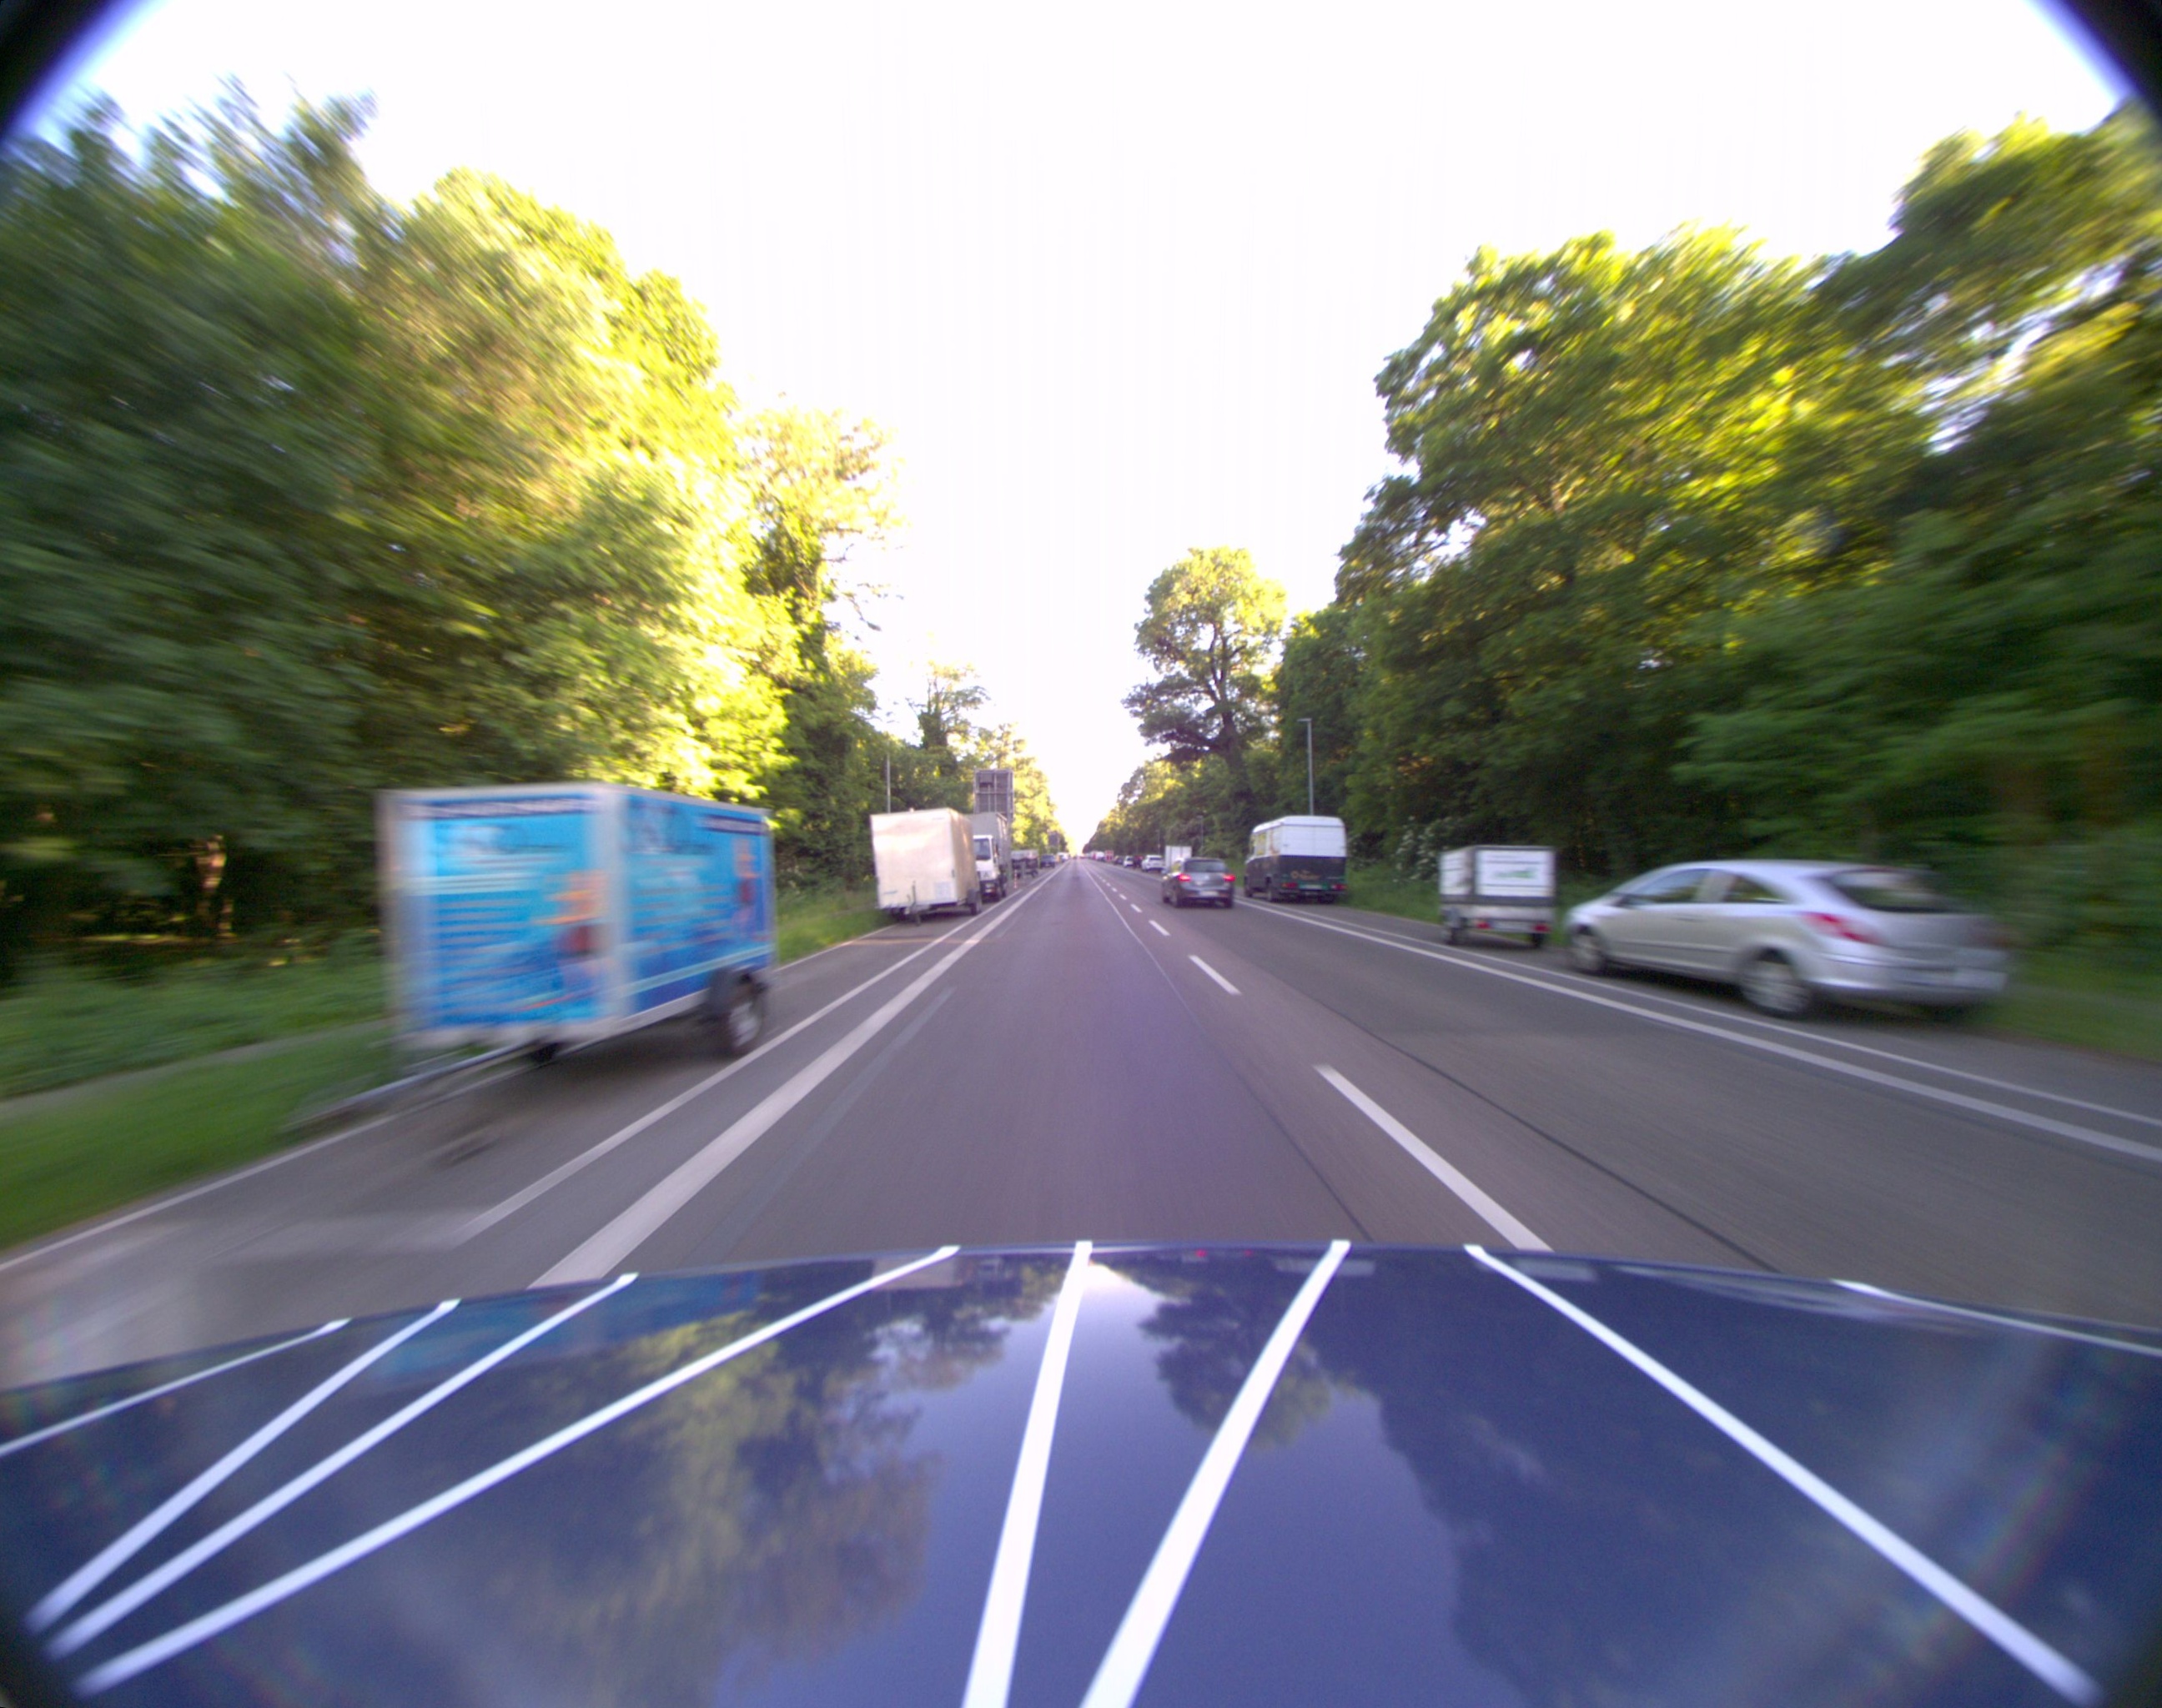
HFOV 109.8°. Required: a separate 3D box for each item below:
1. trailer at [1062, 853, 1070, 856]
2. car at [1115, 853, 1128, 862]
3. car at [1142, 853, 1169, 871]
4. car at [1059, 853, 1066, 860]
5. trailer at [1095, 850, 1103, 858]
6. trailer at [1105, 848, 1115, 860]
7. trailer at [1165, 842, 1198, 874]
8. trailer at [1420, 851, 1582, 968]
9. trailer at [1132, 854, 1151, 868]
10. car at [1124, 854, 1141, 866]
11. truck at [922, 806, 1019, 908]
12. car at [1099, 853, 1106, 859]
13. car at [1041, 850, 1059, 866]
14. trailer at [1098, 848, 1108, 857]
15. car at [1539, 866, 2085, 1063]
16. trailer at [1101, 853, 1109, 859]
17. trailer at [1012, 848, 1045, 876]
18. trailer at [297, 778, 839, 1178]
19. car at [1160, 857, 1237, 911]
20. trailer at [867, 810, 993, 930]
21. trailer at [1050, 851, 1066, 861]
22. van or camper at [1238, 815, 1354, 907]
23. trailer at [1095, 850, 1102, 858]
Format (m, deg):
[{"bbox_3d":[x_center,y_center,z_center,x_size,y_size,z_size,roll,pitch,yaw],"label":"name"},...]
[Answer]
[{"bbox_3d":[-5.020,0.053,256.234,2.439,0.794,5.658,-2,0,0],"label":"trailer"},{"bbox_3d":[6.575,0.599,124.357,1.859,1.456,4.783,-1,0,0],"label":"car"},{"bbox_3d":[6.826,0.694,69.914,1.819,1.562,4.206,1,0,-2],"label":"car"},{"bbox_3d":[-4.224,0.652,175.431,1.590,1.521,3.011,-3,0,0],"label":"car"},{"bbox_3d":[5.464,0.100,233.763,2.072,2.466,3.559,-1,0,-4],"label":"trailer"},{"bbox_3d":[6.207,-0.034,163.916,1.999,2.606,4.085,-1,0,0],"label":"trailer"},{"bbox_3d":[7.445,0.287,56.674,2.080,2.280,3.486,0,0,2],"label":"trailer"},{"bbox_3d":[6.890,0.799,12.816,1.472,1.650,3.368,1,1,12],"label":"trailer"},{"bbox_3d":[6.800,0.749,84.965,1.397,1.565,2.678,-1,0,20],"label":"trailer"},{"bbox_3d":[6.610,0.715,97.688,1.871,1.442,4.070,2,0,0],"label":"car"},{"bbox_3d":[-4.023,0.066,29.206,2.511,3.347,7.106,-2,1,0],"label":"truck"},{"bbox_3d":[5.881,0.463,206.009,1.675,1.486,4.193,2,1,0],"label":"car"},{"bbox_3d":[-4.114,0.562,103.000,2.119,2.002,5.039,-3,0,0],"label":"car"},{"bbox_3d":[6.110,-0.396,212.440,2.353,2.514,4.342,-1,0,-4],"label":"trailer"},{"bbox_3d":[7.144,0.924,8.202,1.872,1.455,4.132,2,0,0],"label":"car"},{"bbox_3d":[6.195,0.501,192.940,1.846,1.457,4.466,-1,0,0],"label":"trailer"},{"bbox_3d":[-4.064,0.592,58.729,1.616,2.100,2.399,-2,1,20],"label":"trailer"},{"bbox_3d":[-3.641,0.702,6.605,1.504,2.222,4.549,-2,0,0],"label":"trailer"},{"bbox_3d":[3.388,0.819,22.628,1.683,1.407,4.000,-1,0,0],"label":"car"},{"bbox_3d":[-3.976,0.385,21.122,2.278,2.828,5.207,-2,0,1],"label":"trailer"},{"bbox_3d":[-4.575,0.357,153.238,1.964,2.011,3.849,-1,0,20],"label":"trailer"},{"bbox_3d":[7.123,0.215,25.915,2.308,2.752,5.556,1,0,0],"label":"van or camper"},{"bbox_3d":[5.679,-0.030,248.551,2.072,2.466,3.559,-1,0,-4],"label":"trailer"}]
